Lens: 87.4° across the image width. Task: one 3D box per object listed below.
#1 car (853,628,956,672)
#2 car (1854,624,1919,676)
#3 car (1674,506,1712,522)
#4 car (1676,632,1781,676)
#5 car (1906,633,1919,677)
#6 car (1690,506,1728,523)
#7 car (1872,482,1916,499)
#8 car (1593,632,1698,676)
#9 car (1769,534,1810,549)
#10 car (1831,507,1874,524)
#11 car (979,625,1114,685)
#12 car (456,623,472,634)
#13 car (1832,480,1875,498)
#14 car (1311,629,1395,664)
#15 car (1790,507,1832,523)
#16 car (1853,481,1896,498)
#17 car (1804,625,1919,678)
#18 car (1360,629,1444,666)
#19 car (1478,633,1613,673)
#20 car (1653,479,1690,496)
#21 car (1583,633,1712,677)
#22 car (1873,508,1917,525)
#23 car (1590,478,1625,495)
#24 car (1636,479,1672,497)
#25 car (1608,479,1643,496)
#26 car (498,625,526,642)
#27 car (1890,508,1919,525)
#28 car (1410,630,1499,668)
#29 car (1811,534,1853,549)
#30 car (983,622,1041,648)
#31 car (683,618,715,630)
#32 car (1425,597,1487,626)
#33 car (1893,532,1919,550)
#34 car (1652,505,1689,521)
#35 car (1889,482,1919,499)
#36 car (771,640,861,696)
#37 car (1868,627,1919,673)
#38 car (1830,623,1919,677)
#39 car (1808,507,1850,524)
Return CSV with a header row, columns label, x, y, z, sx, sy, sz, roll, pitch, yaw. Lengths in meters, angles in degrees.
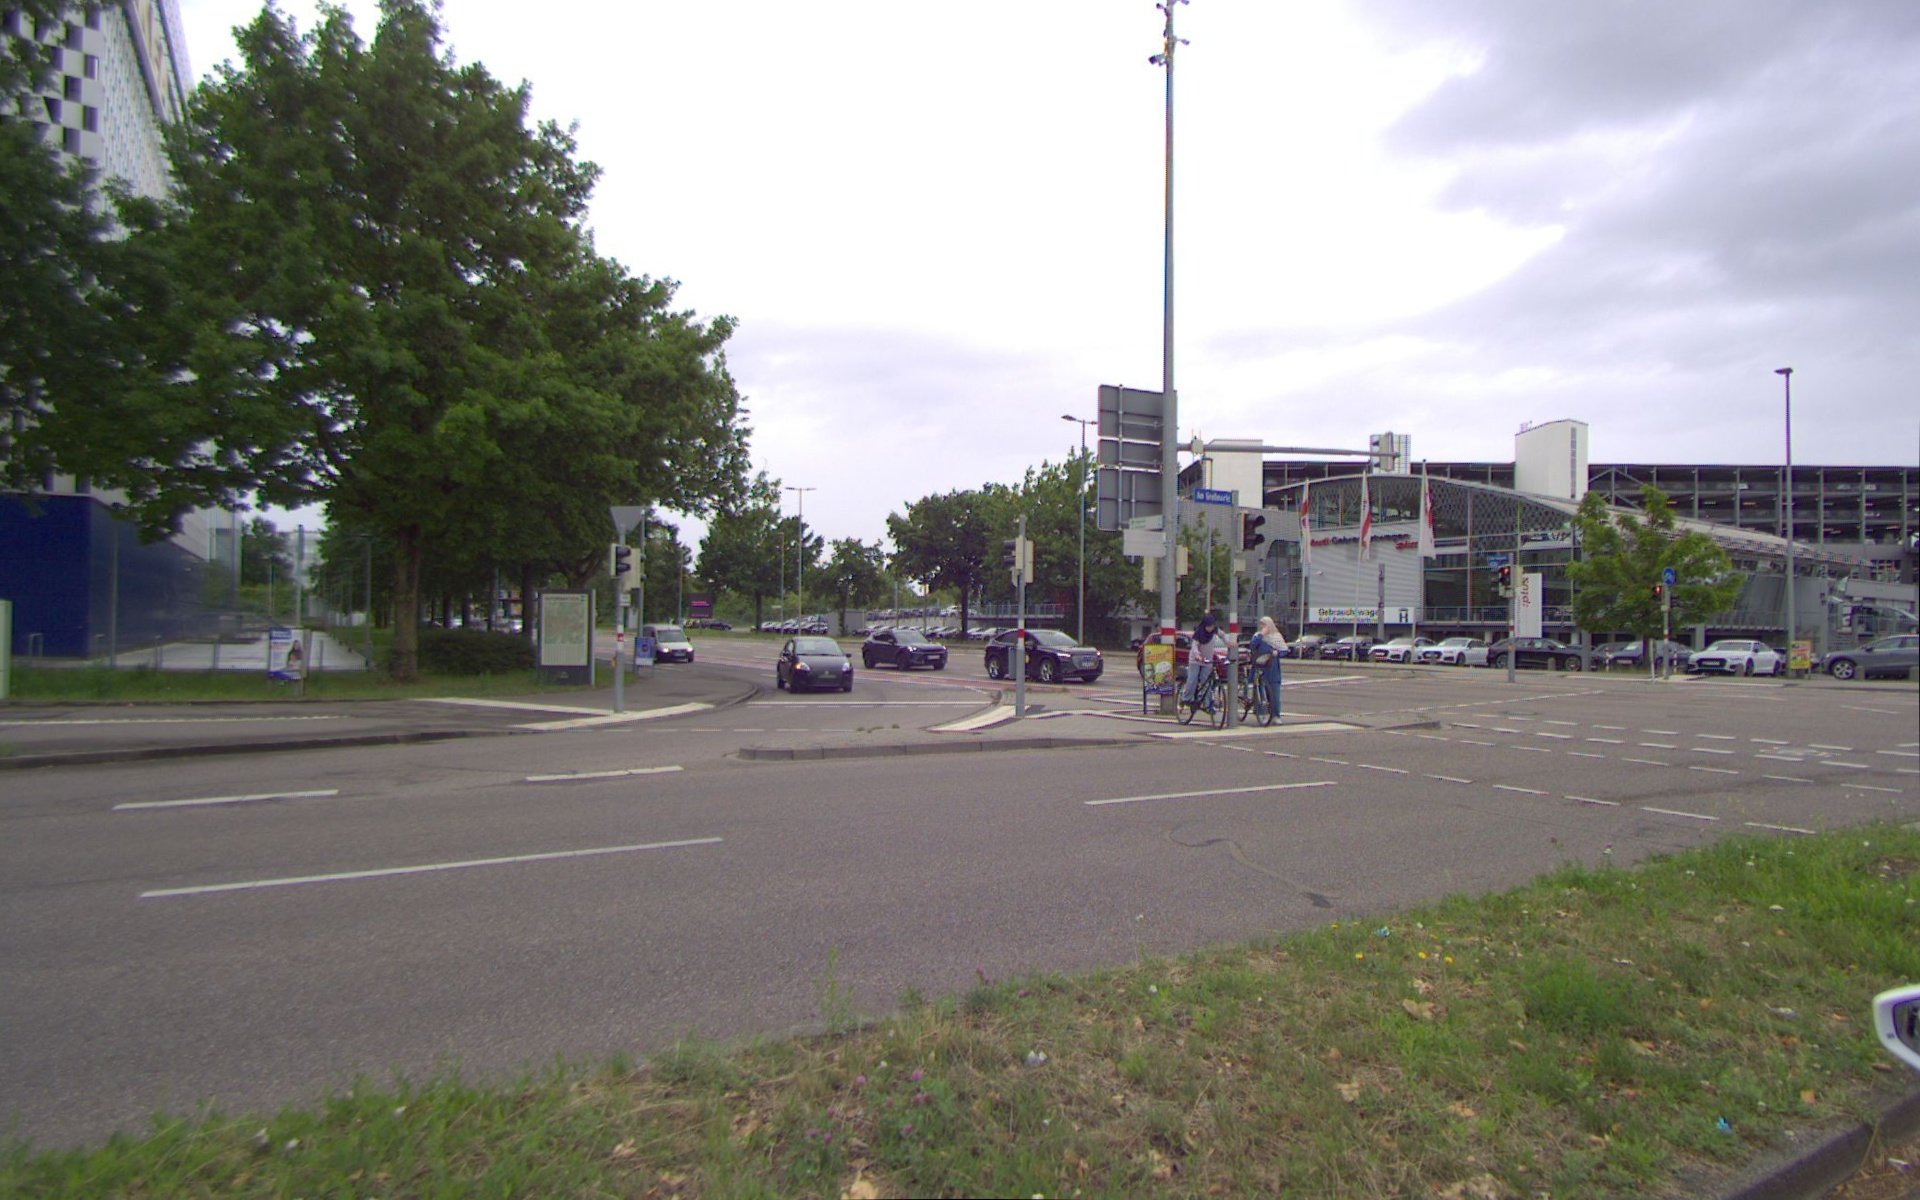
label,x,y,z,sx,sy,sz,roll,pitch,yaw
car,-2.225,1.907,38.879,1.867,1.565,4.554,0,-1,-35
car,39.197,1.998,39.998,2.243,2.040,4.993,3,-4,-34
car,93.633,-10.989,128.391,1.960,1.689,4.001,1,0,2
car,28.937,2.033,37.786,4.185,1.505,1.858,4,-4,-33
car,45.589,2.465,44.627,1.980,2.040,4.863,3,-4,-34
car,95.818,-10.893,128.494,1.960,1.689,4.001,1,0,2
car,119.333,-14.024,128.421,1.960,1.689,4.001,1,0,2
car,27.422,2.159,40.141,4.473,1.505,2.050,5,-5,-35
car,105.955,-7.467,128.374,1.960,1.689,4.001,1,0,2
car,113.724,-10.788,127.997,1.960,1.689,4.001,1,0,2
car,2.611,1.652,31.257,1.867,1.659,4.291,-2,0,-35
car,-73.004,4.248,147.811,1.840,1.481,4.298,0,0,-29
car,113.954,-14.146,128.104,1.960,1.689,4.001,1,0,2
car,19.922,2.342,50.936,4.188,1.505,1.855,5,-3,-33
car,108.608,-10.858,128.233,1.960,1.689,4.001,1,0,2
car,116.575,-14.109,128.059,1.960,1.689,4.001,1,0,2
car,34.511,1.905,37.086,1.980,1.887,4.743,3,-4,-34
car,21.422,2.302,48.640,4.003,1.505,1.860,5,-3,-33
car,25.307,2.284,43.589,1.873,1.505,4.713,5,-4,-32
car,91.292,-14.465,128.927,1.960,1.689,4.001,1,0,2
car,33.195,2.606,48.650,1.978,1.965,4.776,2,-2,-32
car,119.102,-10.654,127.974,1.960,1.689,4.001,1,0,2
car,83.354,-14.610,129.347,1.960,1.689,4.001,1,0,2
car,88.922,-14.358,128.757,1.960,1.689,4.001,1,0,2
car,85.747,-14.498,129.454,1.960,1.689,4.001,1,0,2
car,-46.971,3.501,105.282,1.979,1.616,4.535,-3,1,-33
car,121.323,-10.637,127.959,1.960,1.689,4.001,1,0,2
car,22.947,2.261,46.578,4.154,1.505,1.836,5,-3,-33
car,111.301,-7.459,128.196,1.960,1.689,4.001,1,0,2
car,3.994,2.701,76.772,4.038,1.505,1.801,8,-3,-34
car,-35.419,3.255,136.410,3.949,1.455,1.718,3,0,-27
car,31.685,0.736,64.125,3.960,1.684,1.807,3,0,-35
car,123.823,-7.654,129.388,2.167,1.971,5.331,2,0,-1
car,91.030,-11.106,128.713,1.960,1.689,4.001,1,0,2
car,121.577,-14.004,128.397,1.960,1.689,4.001,1,0,2
car,-4.045,1.816,27.740,1.701,1.389,3.982,0,-2,-20
car,41.230,2.092,41.687,2.034,1.900,4.914,3,-4,-35
car,36.648,1.933,38.469,1.979,2.040,4.673,3,-4,-33
car,110.753,-10.788,128.130,1.960,1.689,4.001,1,0,2
